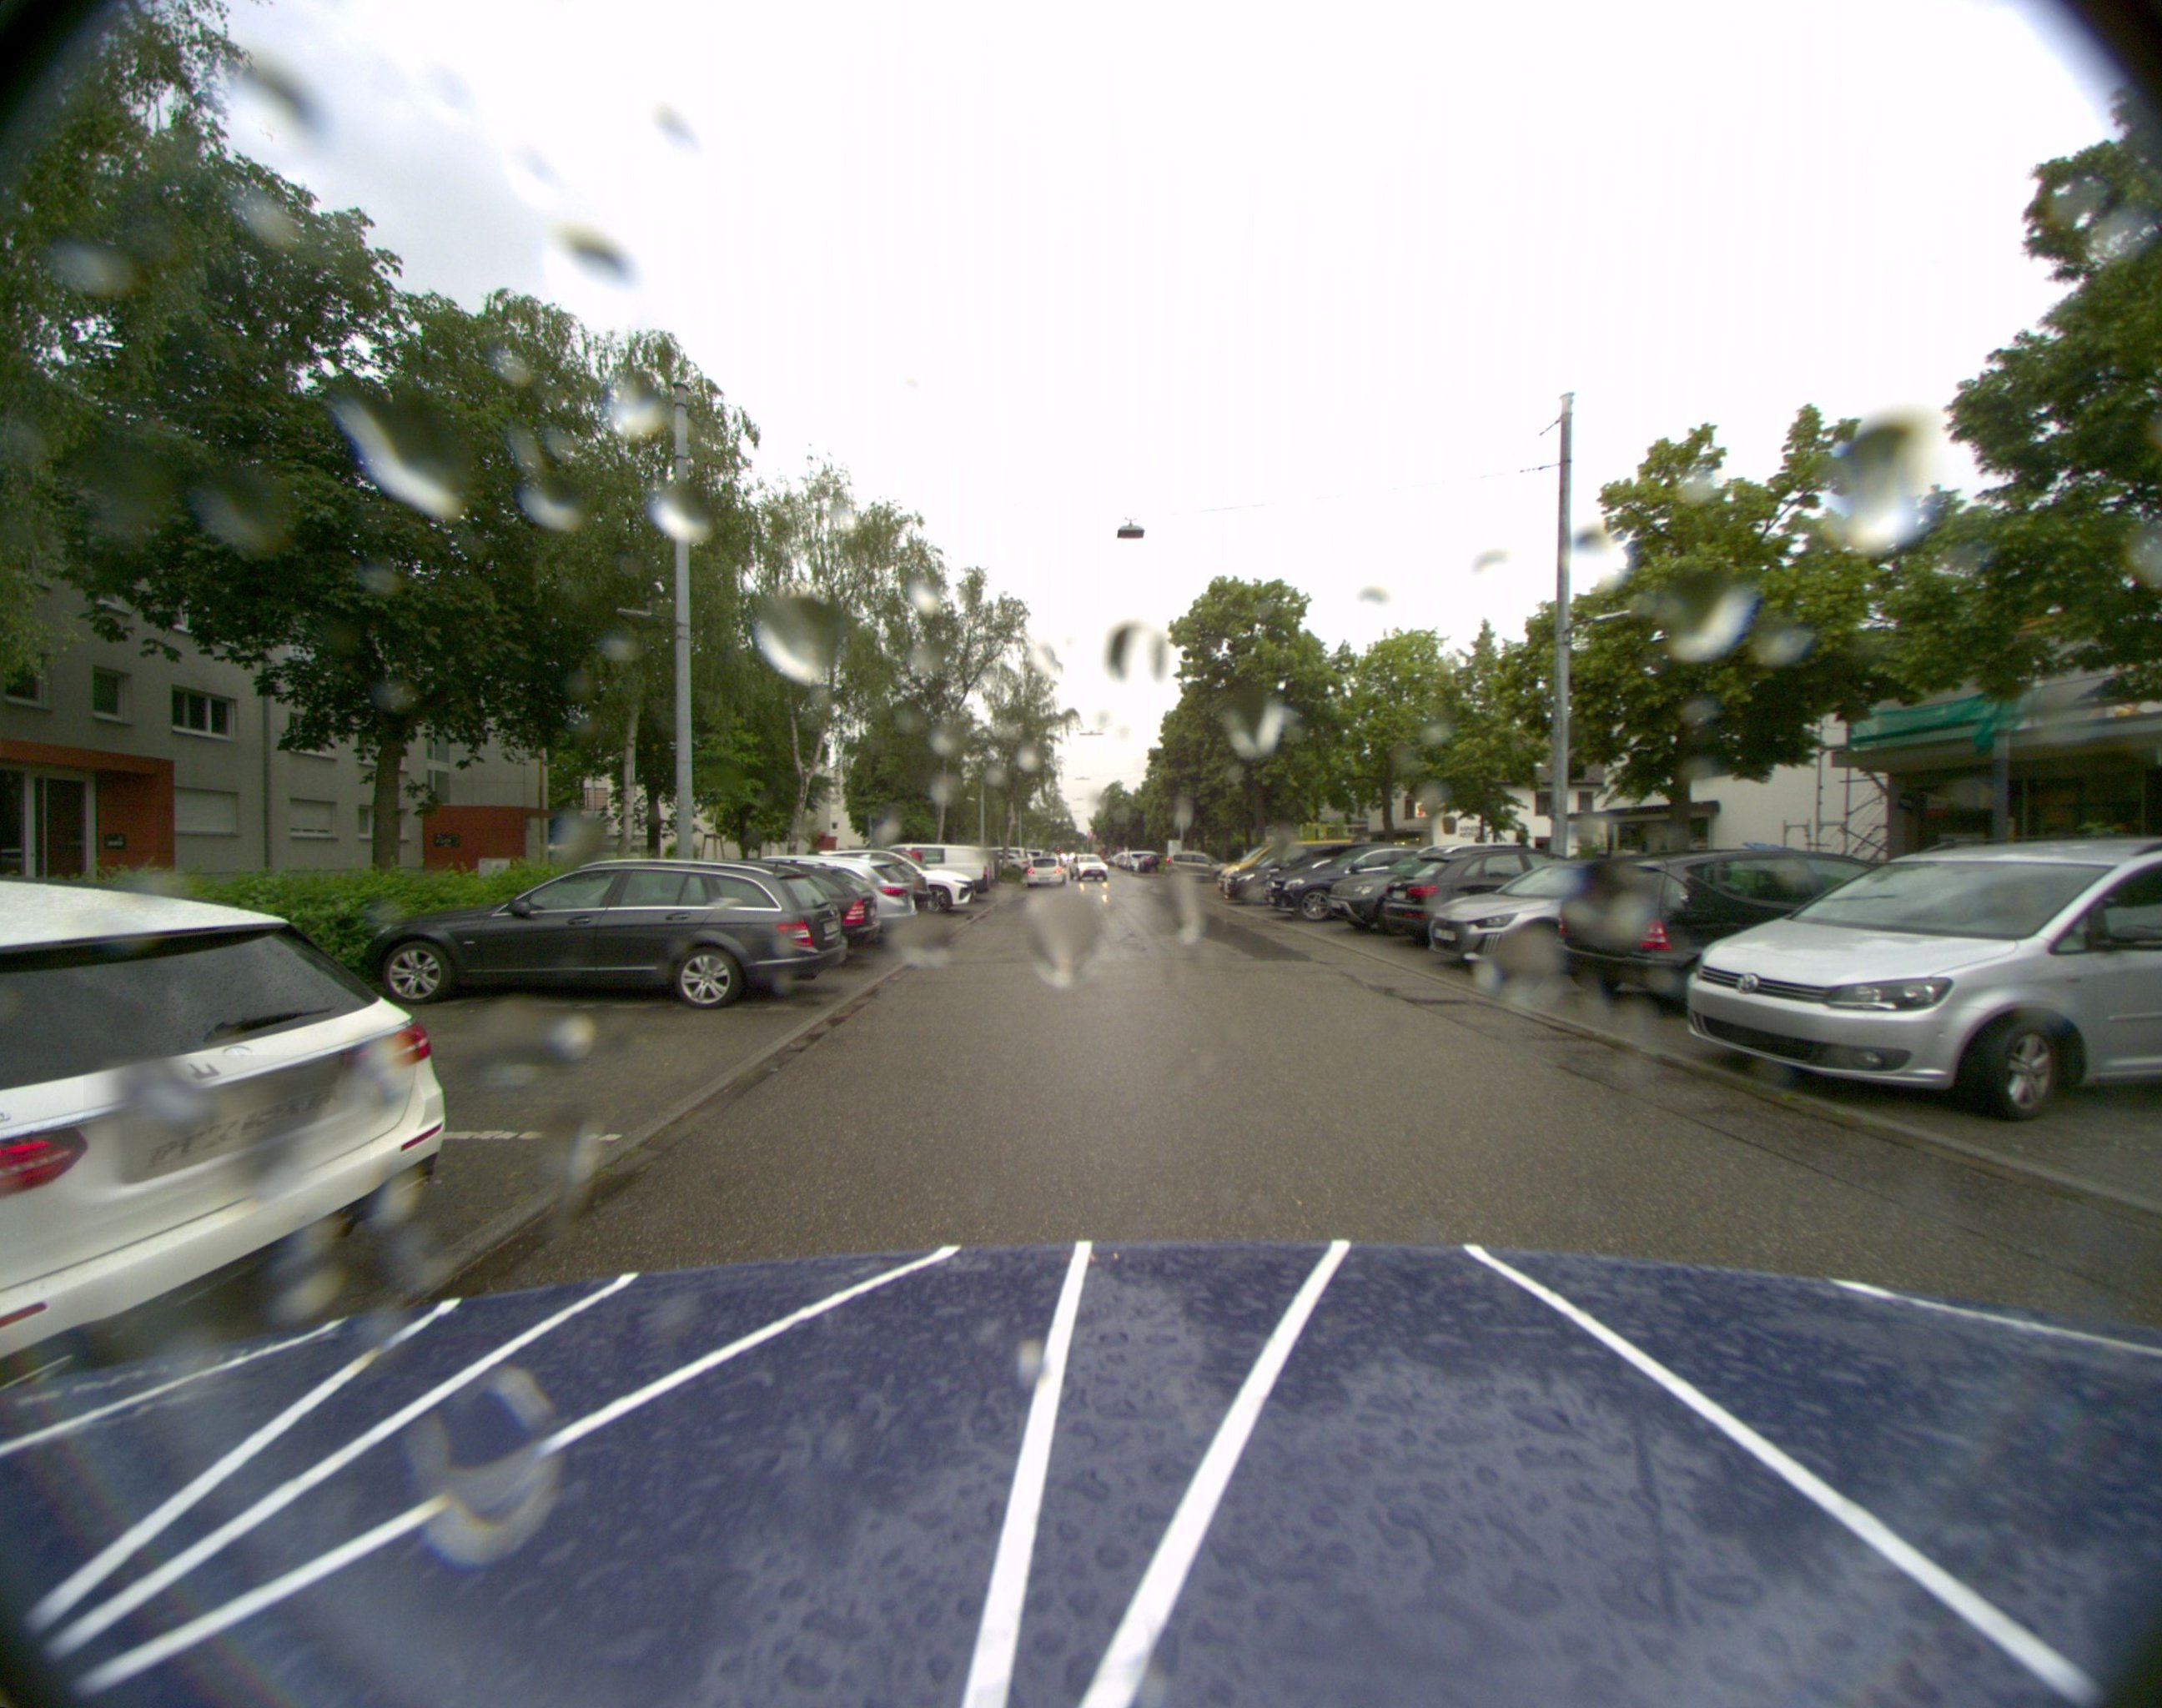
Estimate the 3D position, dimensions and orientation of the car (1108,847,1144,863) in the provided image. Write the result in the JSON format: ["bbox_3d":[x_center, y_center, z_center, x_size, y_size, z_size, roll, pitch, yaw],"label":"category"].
[{"bbox_3d":[5.335,0.108,90.310,3.998,1.675,1.999,-2,1,-3],"label":"car"}]

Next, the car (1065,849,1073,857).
[{"bbox_3d":[-3.104,-0.255,198.436,1.998,1.804,3.999,-2,1,1],"label":"car"}]

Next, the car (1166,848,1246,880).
[{"bbox_3d":[6.892,0.546,41.702,3.990,1.677,1.843,0,2,23],"label":"car"}]

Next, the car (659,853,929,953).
[{"bbox_3d":[-4.861,0.814,13.294,4.049,1.488,1.680,2,1,-3],"label":"car"}]

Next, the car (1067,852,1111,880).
[{"bbox_3d":[0.434,0.695,45.528,1.735,1.519,4.134,-1,1,-12],"label":"car"}]

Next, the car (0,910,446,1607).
[{"bbox_3d":[-4.753,0.918,2.063,4.623,1.431,1.680,2,1,0],"label":"car"}]

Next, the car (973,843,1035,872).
[{"bbox_3d":[-5.466,0.250,54.127,3.995,1.902,1.902,-2,1,4],"label":"car"}]

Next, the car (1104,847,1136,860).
[{"bbox_3d":[5.202,-0.073,101.612,3.998,1.675,1.999,-2,1,-3],"label":"car"}]

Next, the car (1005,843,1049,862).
[{"bbox_3d":[-5.286,-0.190,75.032,3.995,1.670,1.902,-2,1,4],"label":"car"}]

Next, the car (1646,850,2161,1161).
[{"bbox_3d":[6.622,0.848,5.206,4.283,1.625,1.715,-2,1,-2],"label":"car"}]

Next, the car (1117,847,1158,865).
[{"bbox_3d":[5.829,0.210,78.424,3.998,1.675,1.999,-2,1,-3],"label":"car"}]

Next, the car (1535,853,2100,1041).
[{"bbox_3d":[7.256,0.839,7.763,4.283,1.556,1.635,-2,1,-2],"label":"car"}]

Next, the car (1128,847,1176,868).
[{"bbox_3d":[6.383,0.300,68.806,3.998,1.675,1.999,-2,1,-3],"label":"car"}]

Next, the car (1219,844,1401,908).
[{"bbox_3d":[7.114,0.642,23.860,5.177,1.789,1.715,-2,1,-2],"label":"car"}]

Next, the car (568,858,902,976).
[{"bbox_3d":[-4.823,0.855,11.041,4.049,1.431,1.680,2,1,-3],"label":"car"}]

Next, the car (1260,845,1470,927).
[{"bbox_3d":[6.601,0.716,17.946,4.283,1.717,1.715,-2,1,-2],"label":"car"}]

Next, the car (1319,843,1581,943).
[{"bbox_3d":[7.086,0.708,14.863,4.283,1.717,1.715,-2,1,-2],"label":"car"}]

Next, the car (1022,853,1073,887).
[{"bbox_3d":[-1.579,0.766,37.746,1.998,1.446,4.258,-2,1,4],"label":"car"}]

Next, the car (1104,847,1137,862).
[{"bbox_3d":[5.027,0.034,96.938,3.998,1.675,1.999,-2,1,-3],"label":"car"}]

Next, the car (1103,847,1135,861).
[{"bbox_3d":[4.970,0.007,99.172,3.998,1.675,1.999,-2,1,-3],"label":"car"}]

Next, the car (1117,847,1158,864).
[{"bbox_3d":[6.008,0.156,81.099,3.998,1.675,1.999,-2,1,-3],"label":"car"}]

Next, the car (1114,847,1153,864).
[{"bbox_3d":[5.786,0.175,83.754,3.998,1.675,1.999,-2,1,-3],"label":"car"}]

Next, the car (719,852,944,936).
[{"bbox_3d":[-5.001,0.789,15.638,4.049,1.488,1.680,2,1,-3],"label":"car"}]

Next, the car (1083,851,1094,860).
[{"bbox_3d":[1.472,0.257,155.901,1.999,1.617,3.999,-2,1,-1],"label":"car"}]

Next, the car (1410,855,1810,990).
[{"bbox_3d":[6.989,0.845,10.316,4.283,1.523,1.715,-2,1,-2],"label":"car"}]

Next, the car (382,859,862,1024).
[{"bbox_3d":[-4.614,0.858,8.120,4.049,1.431,1.680,2,1,-3],"label":"car"}]

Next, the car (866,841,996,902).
[{"bbox_3d":[-5.084,0.573,26.188,4.182,1.856,1.679,2,1,-6],"label":"car"}]

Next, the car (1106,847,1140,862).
[{"bbox_3d":[5.218,0.059,94.417,3.998,1.675,1.999,-2,1,-3],"label":"car"}]

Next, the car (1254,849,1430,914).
[{"bbox_3d":[7.155,0.721,21.081,4.283,1.617,1.715,-2,1,-2],"label":"car"}]

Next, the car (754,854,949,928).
[{"bbox_3d":[-5.278,0.835,17.877,4.049,1.488,1.680,2,1,-3],"label":"car"}]

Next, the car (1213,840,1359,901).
[{"bbox_3d":[7.183,0.565,26.929,4.657,1.947,1.715,-2,1,-2],"label":"car"}]

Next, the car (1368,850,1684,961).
[{"bbox_3d":[7.265,0.793,12.675,4.283,1.586,1.715,-2,1,-2],"label":"car"}]

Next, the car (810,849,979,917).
[{"bbox_3d":[-5.045,0.752,20.902,4.179,1.609,1.680,2,1,1],"label":"car"}]

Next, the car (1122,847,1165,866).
[{"bbox_3d":[6.195,0.215,75.992,3.998,1.675,1.999,-2,1,-3],"label":"car"}]

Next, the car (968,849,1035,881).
[{"bbox_3d":[-5.112,0.684,49.281,3.995,1.902,1.902,-2,1,4],"label":"car"}]
